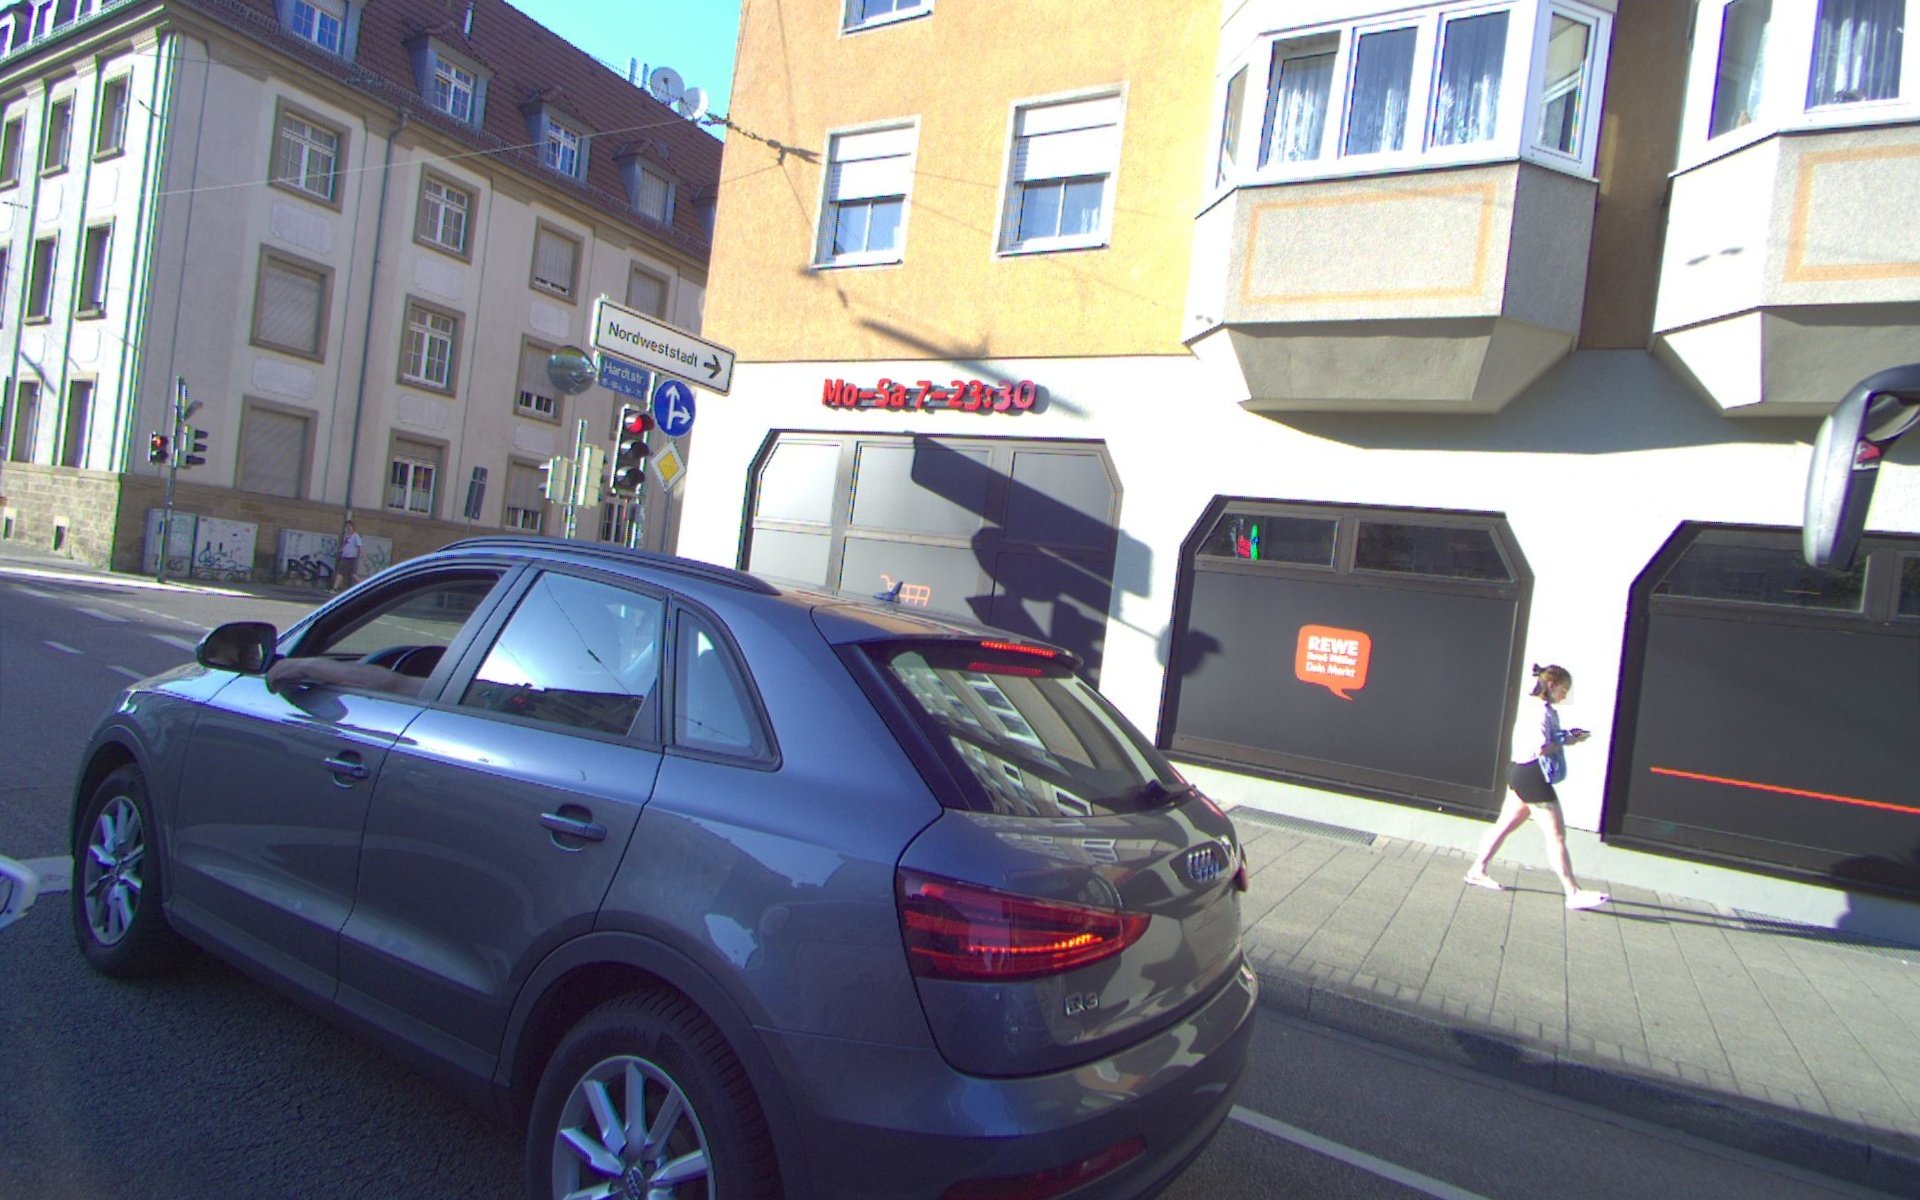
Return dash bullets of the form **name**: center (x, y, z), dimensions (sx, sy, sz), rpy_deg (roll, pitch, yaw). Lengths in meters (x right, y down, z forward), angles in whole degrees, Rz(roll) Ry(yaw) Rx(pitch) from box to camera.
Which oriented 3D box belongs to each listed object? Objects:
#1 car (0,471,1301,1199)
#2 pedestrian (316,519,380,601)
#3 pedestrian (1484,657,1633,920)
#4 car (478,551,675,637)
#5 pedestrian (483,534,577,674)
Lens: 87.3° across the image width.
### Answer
- **car**: center (-1.282, 0.611, 3.327), dimensions (4.155, 1.570, 1.701), rpy_deg (7, -2, 32)
- **pedestrian**: center (-14.439, -0.939, 23.743), dimensions (0.810, 1.783, 0.837), rpy_deg (6, -1, 31)
- **pedestrian**: center (4.017, 1.227, 6.807), dimensions (0.656, 1.603, 0.580), rpy_deg (7, 1, 27)
- **car**: center (-9.173, -0.097, 24.352), dimensions (1.967, 1.582, 3.994), rpy_deg (6, -1, 31)
- **pedestrian**: center (-5.850, 0.059, 13.693), dimensions (0.812, 1.778, 0.630), rpy_deg (6, -1, 32)
